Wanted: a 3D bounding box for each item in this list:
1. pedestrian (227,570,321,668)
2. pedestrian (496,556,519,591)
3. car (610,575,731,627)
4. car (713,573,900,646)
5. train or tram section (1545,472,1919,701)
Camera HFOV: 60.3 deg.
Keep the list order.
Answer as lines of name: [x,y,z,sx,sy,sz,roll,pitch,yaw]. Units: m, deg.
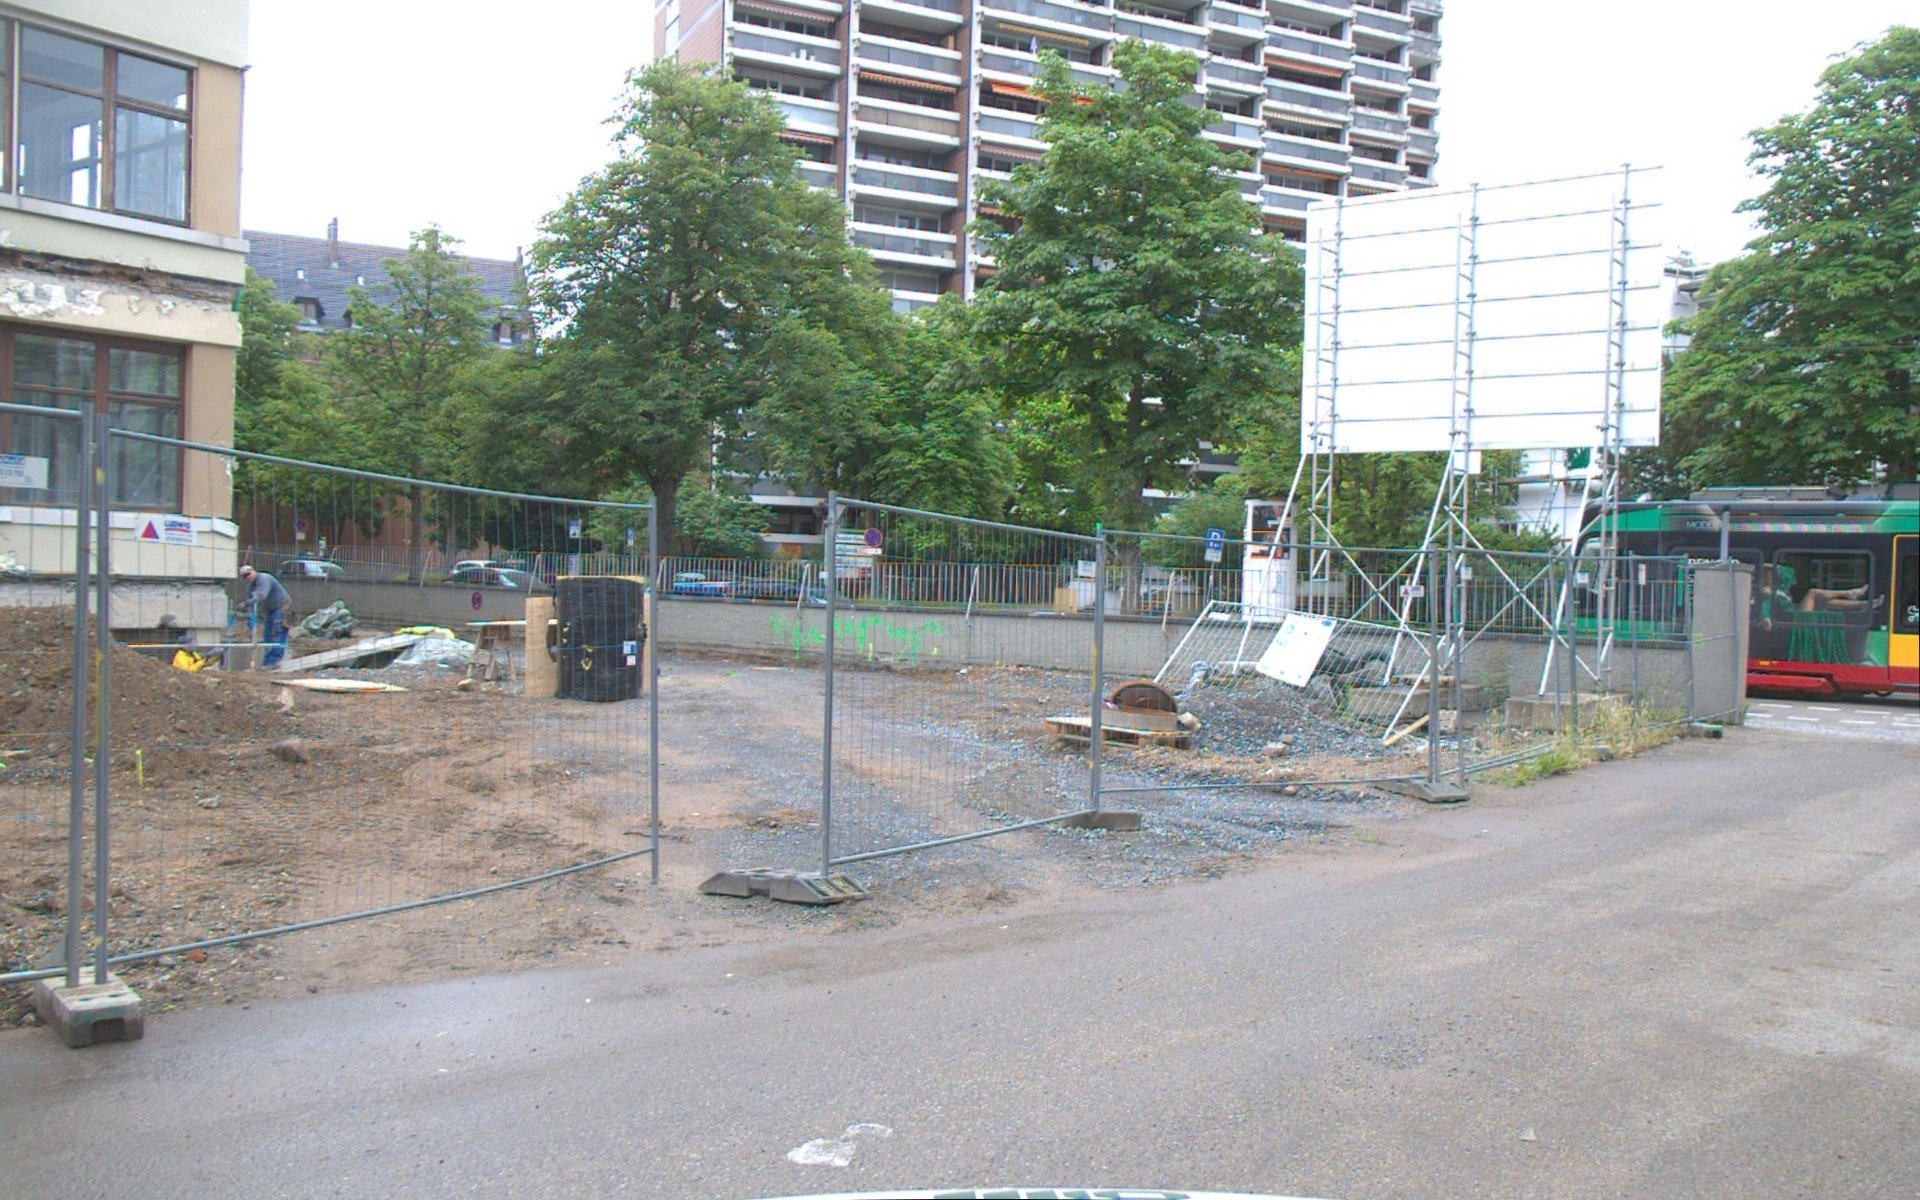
pedestrian: [-10.591,0.288,25.527,0.912,1.463,0.980,1,0,34]
pedestrian: [-20.041,-1.175,73.247,0.510,1.554,0.843,2,1,26]
car: [-9.292,0.008,52.969,3.924,1.545,1.595,2,1,39]
car: [-3.396,0.186,36.349,3.923,1.443,1.825,2,1,38]
train or tram section: [16.337,-0.200,27.527,12.220,3.677,2.655,2,0,39]
